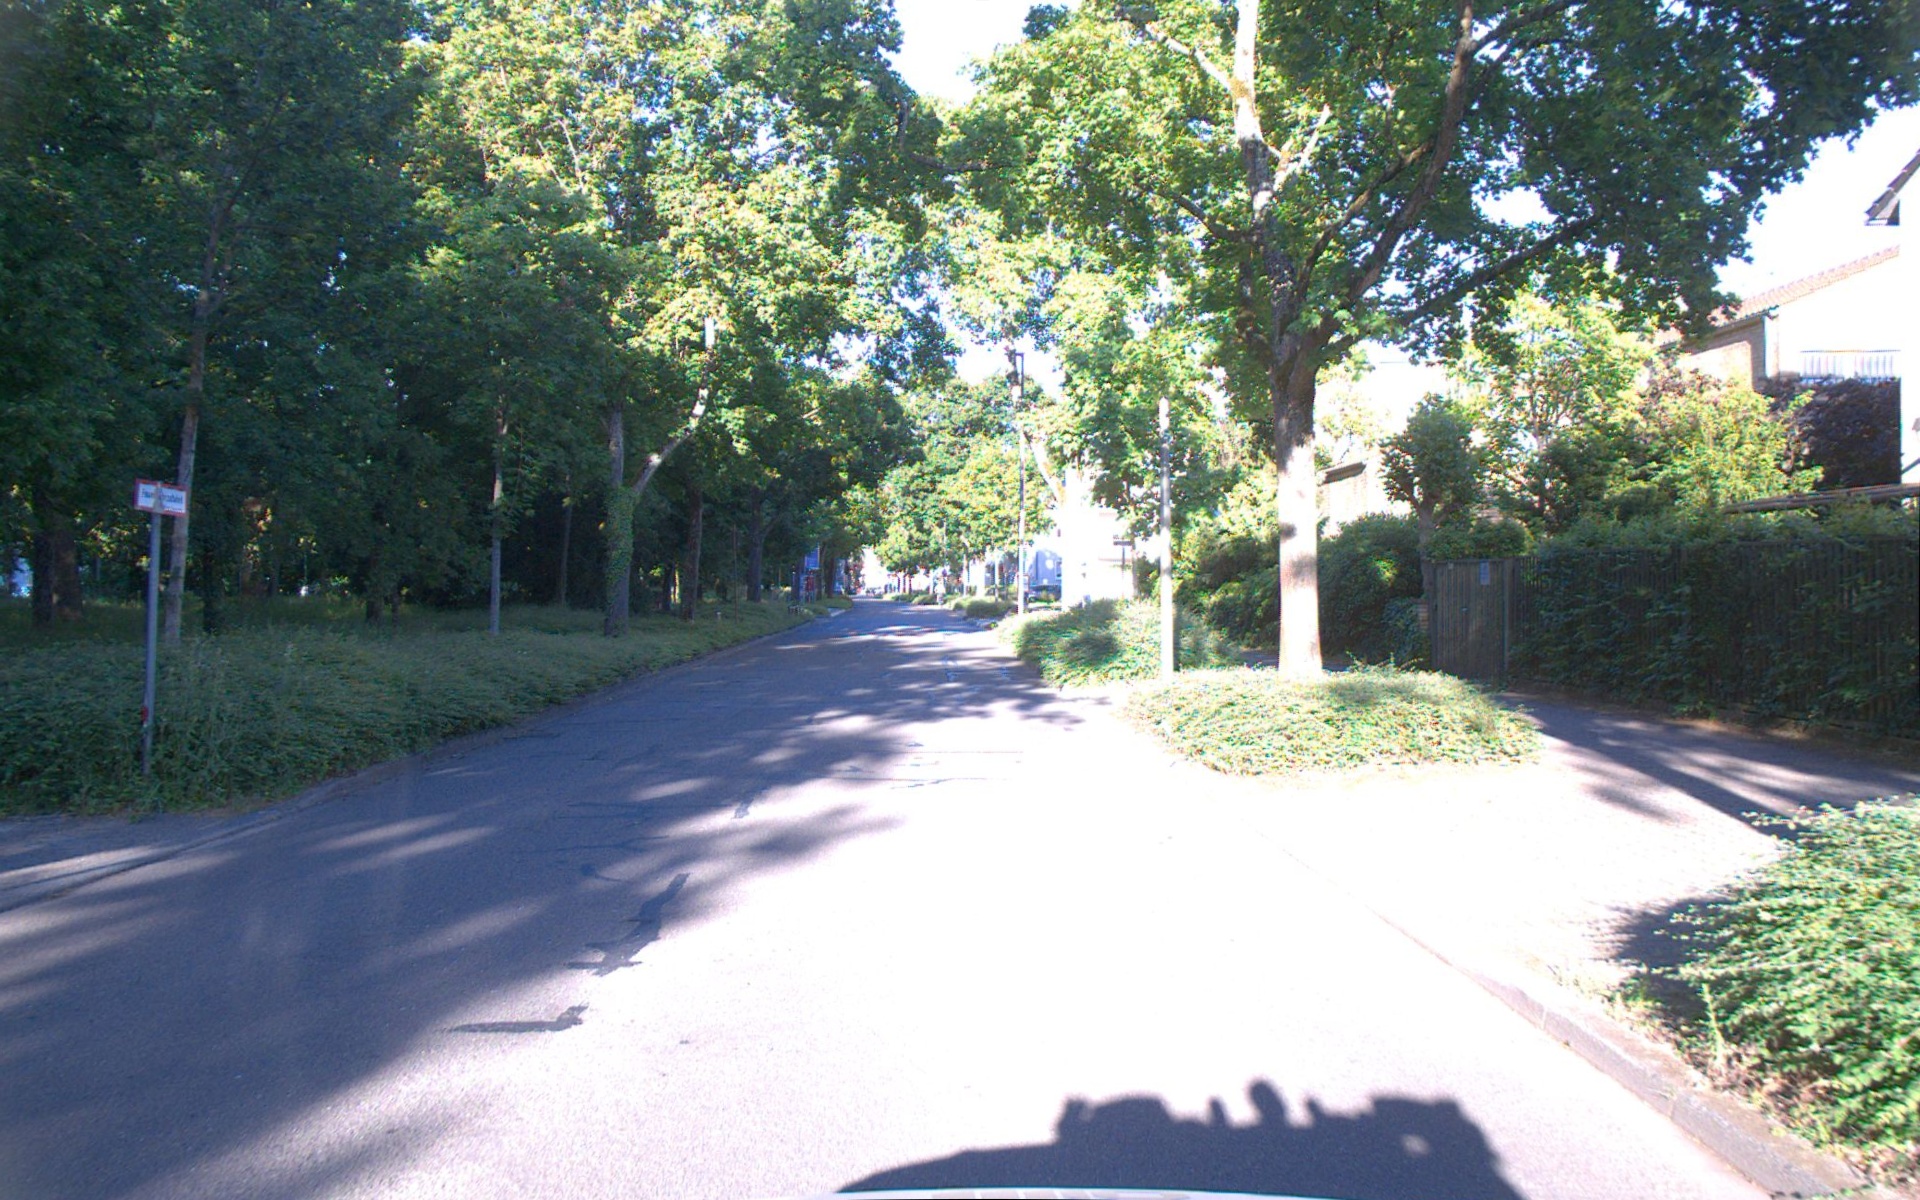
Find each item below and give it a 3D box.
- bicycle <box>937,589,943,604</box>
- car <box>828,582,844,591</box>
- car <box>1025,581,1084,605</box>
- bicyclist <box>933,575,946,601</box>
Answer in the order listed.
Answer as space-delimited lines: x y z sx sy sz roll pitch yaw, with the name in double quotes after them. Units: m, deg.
-1.351 -0.248 111.875 0.430 0.995 1.661 0 2 -2 "bicycle"
-18.130 -1.970 241.550 1.958 1.378 3.531 1 0 -11 "car"
7.029 -0.506 123.195 4.259 1.377 2.145 4 4 4 "car"
-1.398 -0.810 111.817 0.849 1.669 1.114 1 2 -2 "bicyclist"
